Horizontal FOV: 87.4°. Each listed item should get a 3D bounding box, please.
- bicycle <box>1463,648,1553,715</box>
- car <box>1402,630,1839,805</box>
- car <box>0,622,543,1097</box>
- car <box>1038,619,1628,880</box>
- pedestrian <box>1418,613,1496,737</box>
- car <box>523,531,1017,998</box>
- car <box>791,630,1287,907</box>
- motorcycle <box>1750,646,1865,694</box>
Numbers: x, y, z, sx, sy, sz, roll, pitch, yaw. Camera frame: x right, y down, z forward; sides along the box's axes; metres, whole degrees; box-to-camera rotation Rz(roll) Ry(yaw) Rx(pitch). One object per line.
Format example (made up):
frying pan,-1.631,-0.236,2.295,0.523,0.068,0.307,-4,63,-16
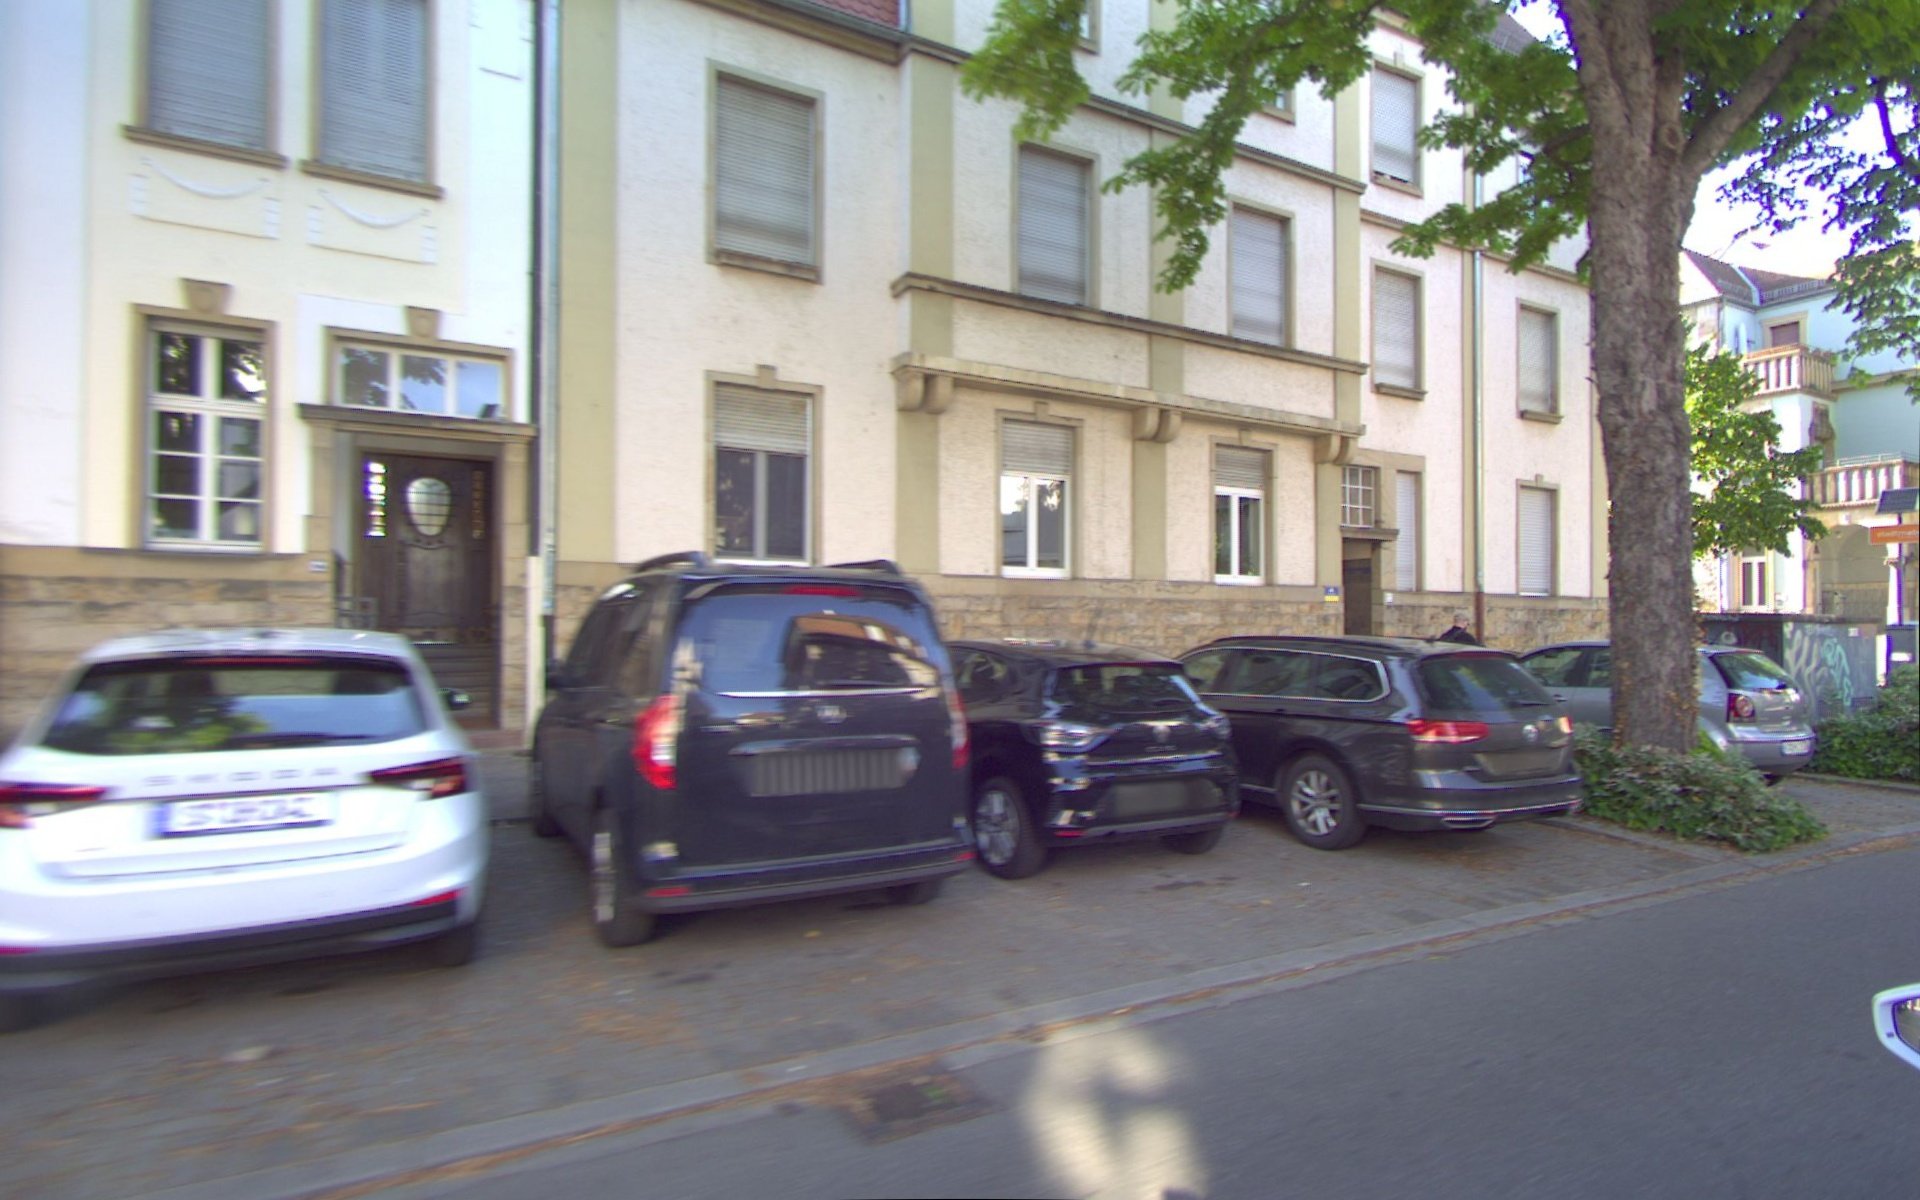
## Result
bicycle,9.750,1.425,17.862,1.679,1.112,0.625,1,-1,-30
car,6.917,1.108,10.908,1.621,1.507,3.658,2,-1,-29
car,-3.475,0.877,5.257,1.723,1.467,3.965,2,-2,-32
car,2.695,0.954,8.423,1.869,1.523,4.511,2,-1,-30
pedestrian,7.004,1.035,14.156,0.822,1.681,0.629,1,-1,-29
car,-1.485,0.709,6.234,1.807,1.880,3.961,2,-1,-30
car,0.301,0.989,7.633,1.808,1.456,3.959,2,-2,-31
motorcycle,22.624,1.847,26.863,0.885,1.191,2.209,3,-2,-20
